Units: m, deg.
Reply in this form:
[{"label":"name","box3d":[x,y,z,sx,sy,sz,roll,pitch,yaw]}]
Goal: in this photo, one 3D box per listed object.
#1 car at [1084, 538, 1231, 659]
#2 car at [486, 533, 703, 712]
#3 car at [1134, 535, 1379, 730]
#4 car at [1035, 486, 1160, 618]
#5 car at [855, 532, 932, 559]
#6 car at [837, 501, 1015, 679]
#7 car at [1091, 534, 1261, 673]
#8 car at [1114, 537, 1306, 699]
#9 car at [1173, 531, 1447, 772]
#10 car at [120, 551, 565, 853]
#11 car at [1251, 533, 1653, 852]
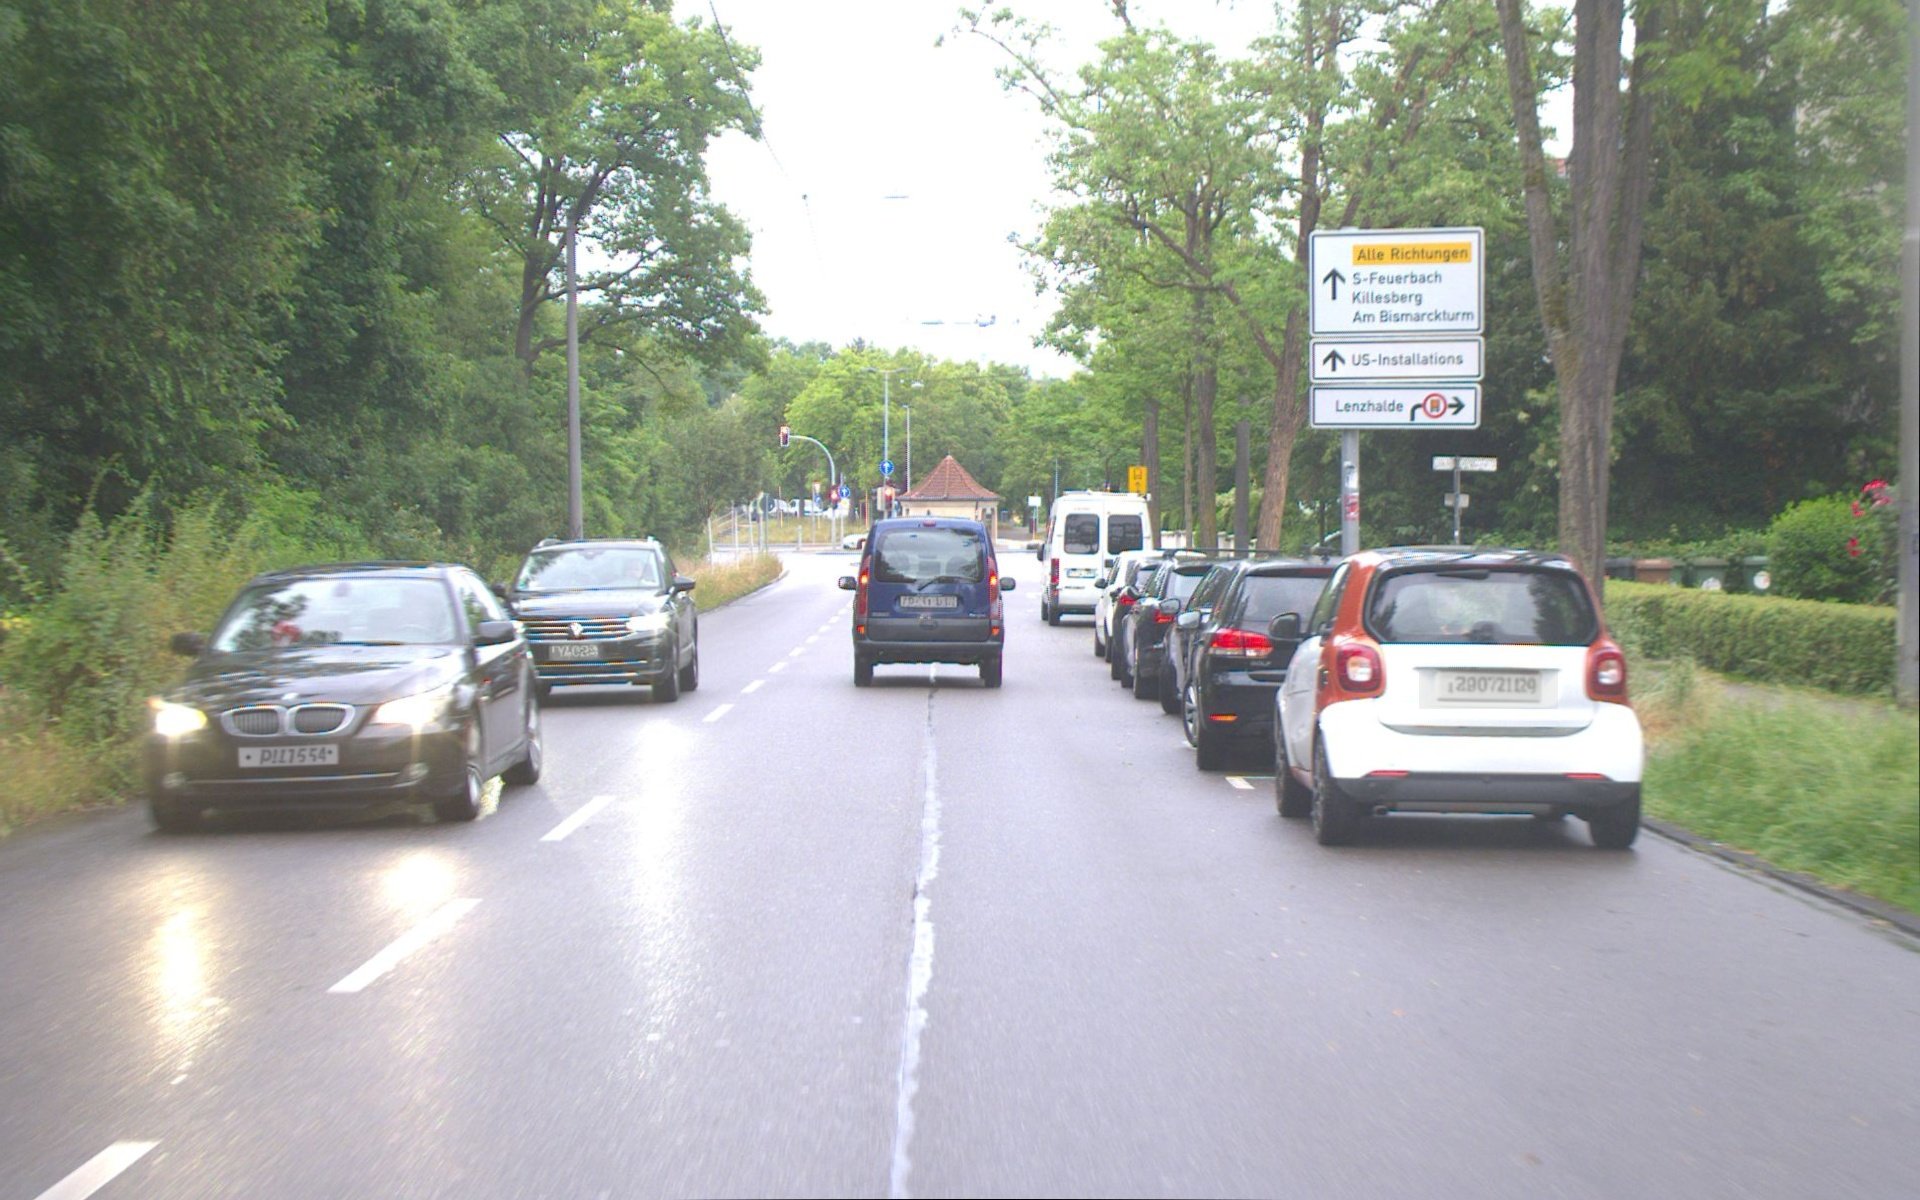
[{"label":"car","box3d":[2.672,-0.056,47.244,1.698,1.519,3.868,1,1,-1]},{"label":"car","box3d":[-3.640,0.173,34.830,1.723,1.610,4.155,-1,2,0]},{"label":"car","box3d":[2.508,0.231,29.867,1.698,1.519,3.868,1,1,-1]},{"label":"car","box3d":[2.595,-0.932,65.976,2.205,2.441,4.729,0,1,0]},{"label":"car","box3d":[-3.749,-3.067,194.084,4.038,1.371,1.718,2,2,10]},{"label":"car","box3d":[-0.421,-0.153,37.993,1.766,1.824,3.543,1,2,-3]},{"label":"car","box3d":[2.534,-0.001,41.099,1.698,1.519,3.868,1,1,-1]},{"label":"car","box3d":[2.536,0.138,35.711,1.698,1.519,4.211,1,1,1]},{"label":"car","box3d":[2.445,0.304,24.822,1.698,1.519,3.867,1,2,2]},{"label":"car","box3d":[-3.531,0.500,20.582,1.728,1.437,5.113,-1,2,0]},{"label":"car","box3d":[2.563,0.432,18.512,1.633,1.504,2.958,1,2,-1]}]
